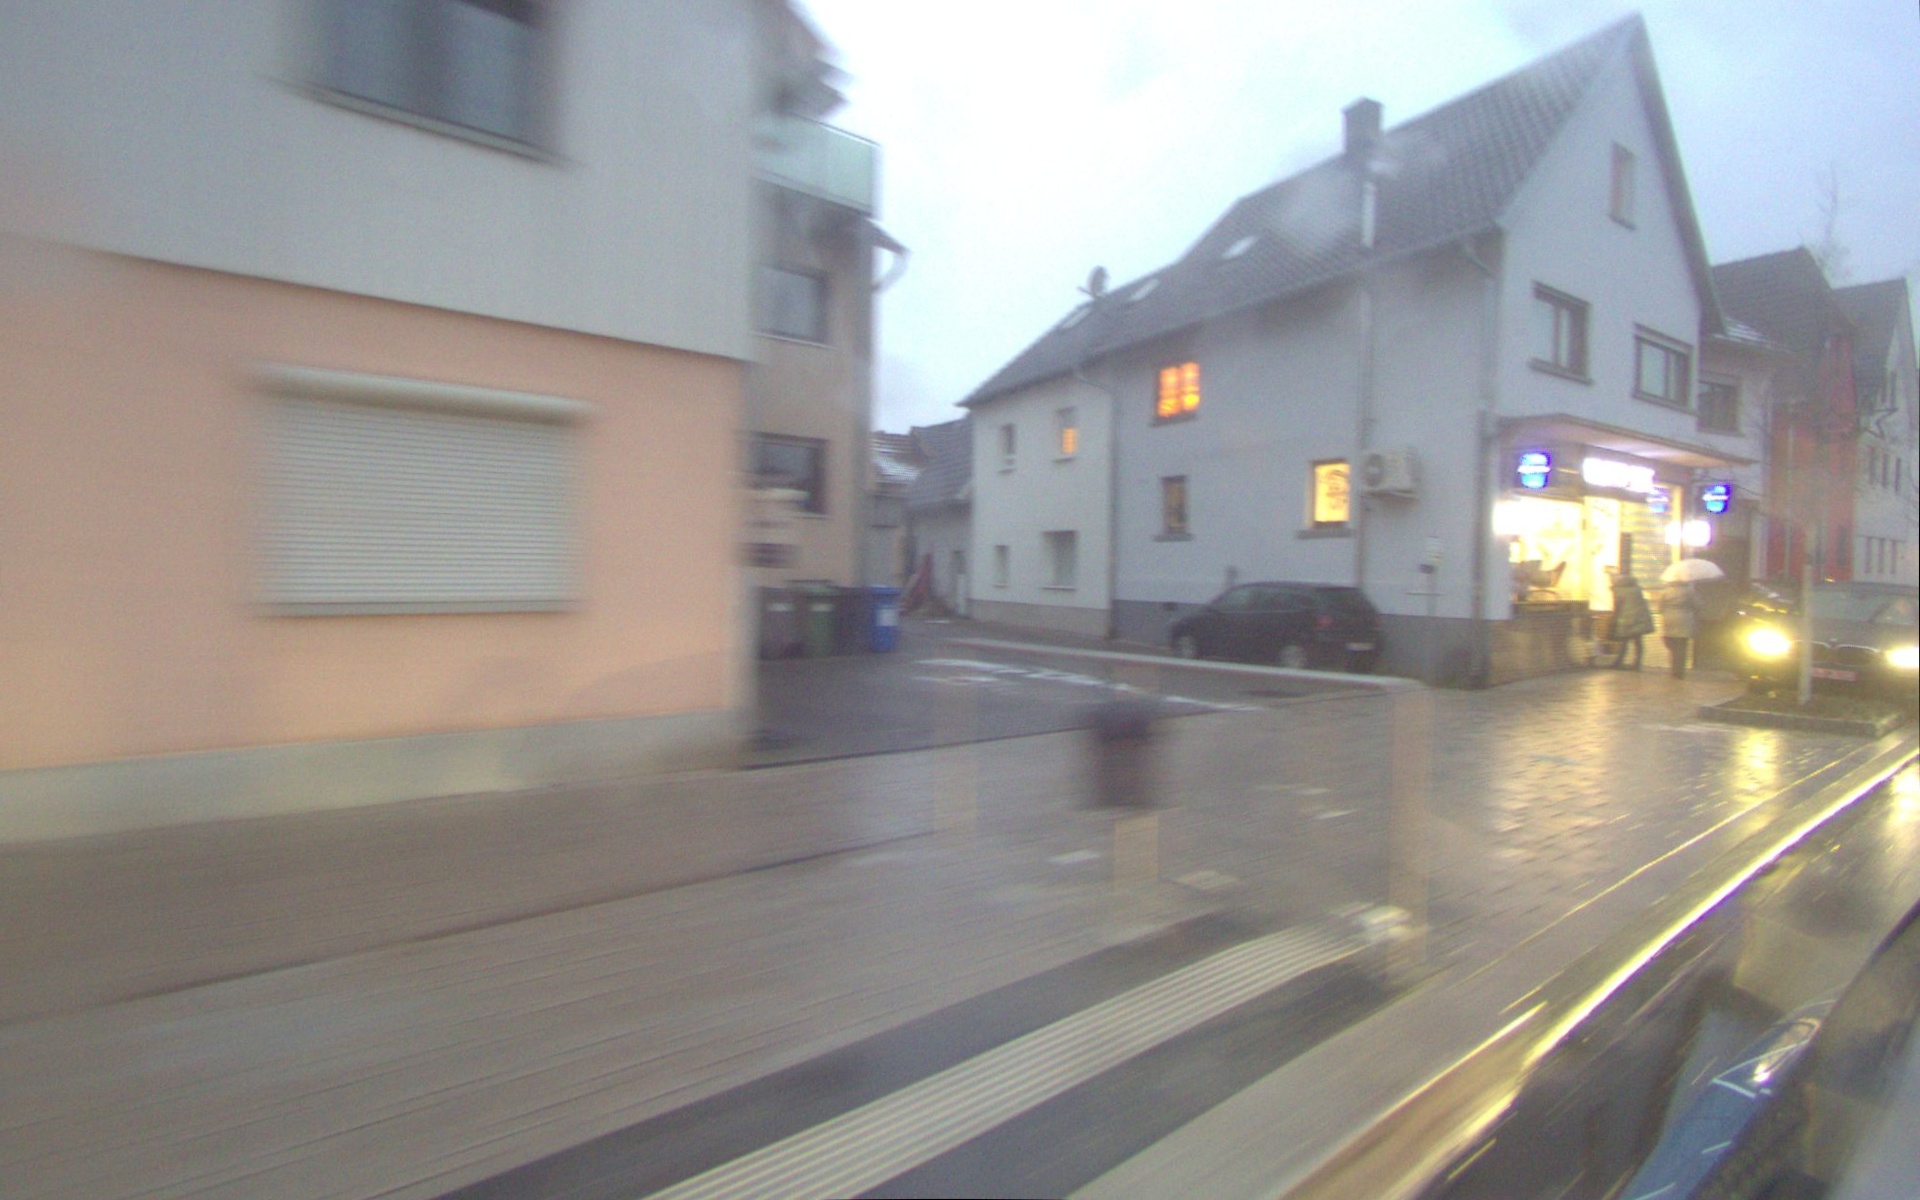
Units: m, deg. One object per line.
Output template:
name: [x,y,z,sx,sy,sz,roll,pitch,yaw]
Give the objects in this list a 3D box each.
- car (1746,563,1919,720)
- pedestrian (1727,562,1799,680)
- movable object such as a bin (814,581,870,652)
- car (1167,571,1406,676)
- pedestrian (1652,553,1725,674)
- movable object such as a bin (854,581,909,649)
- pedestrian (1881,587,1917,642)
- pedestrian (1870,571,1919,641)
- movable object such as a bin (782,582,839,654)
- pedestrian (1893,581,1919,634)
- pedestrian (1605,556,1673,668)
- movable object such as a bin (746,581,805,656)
car: [12.520,0.485,13.768,4.440,1.806,1.998,1,2,-41]
pedestrian: [12.327,0.305,15.544,0.459,1.741,0.651,2,3,-34]
movable object such as a bin: [-1.853,0.249,15.872,0.534,1.053,0.728,1,2,-42]
car: [5.240,0.313,16.669,1.627,1.402,3.568,2,3,-28]
pedestrian: [11.335,0.200,15.765,0.498,1.818,0.652,2,2,-29]
movable object such as a bin: [-1.285,0.233,16.494,0.534,1.053,0.728,1,2,-42]
pedestrian: [28.571,0.435,30.797,0.710,1.625,0.656,1,2,-38]
pedestrian: [24.528,0.152,26.514,1.041,1.786,0.819,1,2,-41]
movable object such as a bin: [-2.279,0.263,15.409,0.534,1.053,0.728,1,2,-42]
pedestrian: [31.736,0.238,33.611,1.008,1.745,0.973,0,1,-40]
pedestrian: [11.001,0.187,16.391,0.638,1.741,0.610,2,3,-35]
movable object such as a bin: [-2.760,0.263,15.138,0.552,1.053,0.728,1,2,-42]
